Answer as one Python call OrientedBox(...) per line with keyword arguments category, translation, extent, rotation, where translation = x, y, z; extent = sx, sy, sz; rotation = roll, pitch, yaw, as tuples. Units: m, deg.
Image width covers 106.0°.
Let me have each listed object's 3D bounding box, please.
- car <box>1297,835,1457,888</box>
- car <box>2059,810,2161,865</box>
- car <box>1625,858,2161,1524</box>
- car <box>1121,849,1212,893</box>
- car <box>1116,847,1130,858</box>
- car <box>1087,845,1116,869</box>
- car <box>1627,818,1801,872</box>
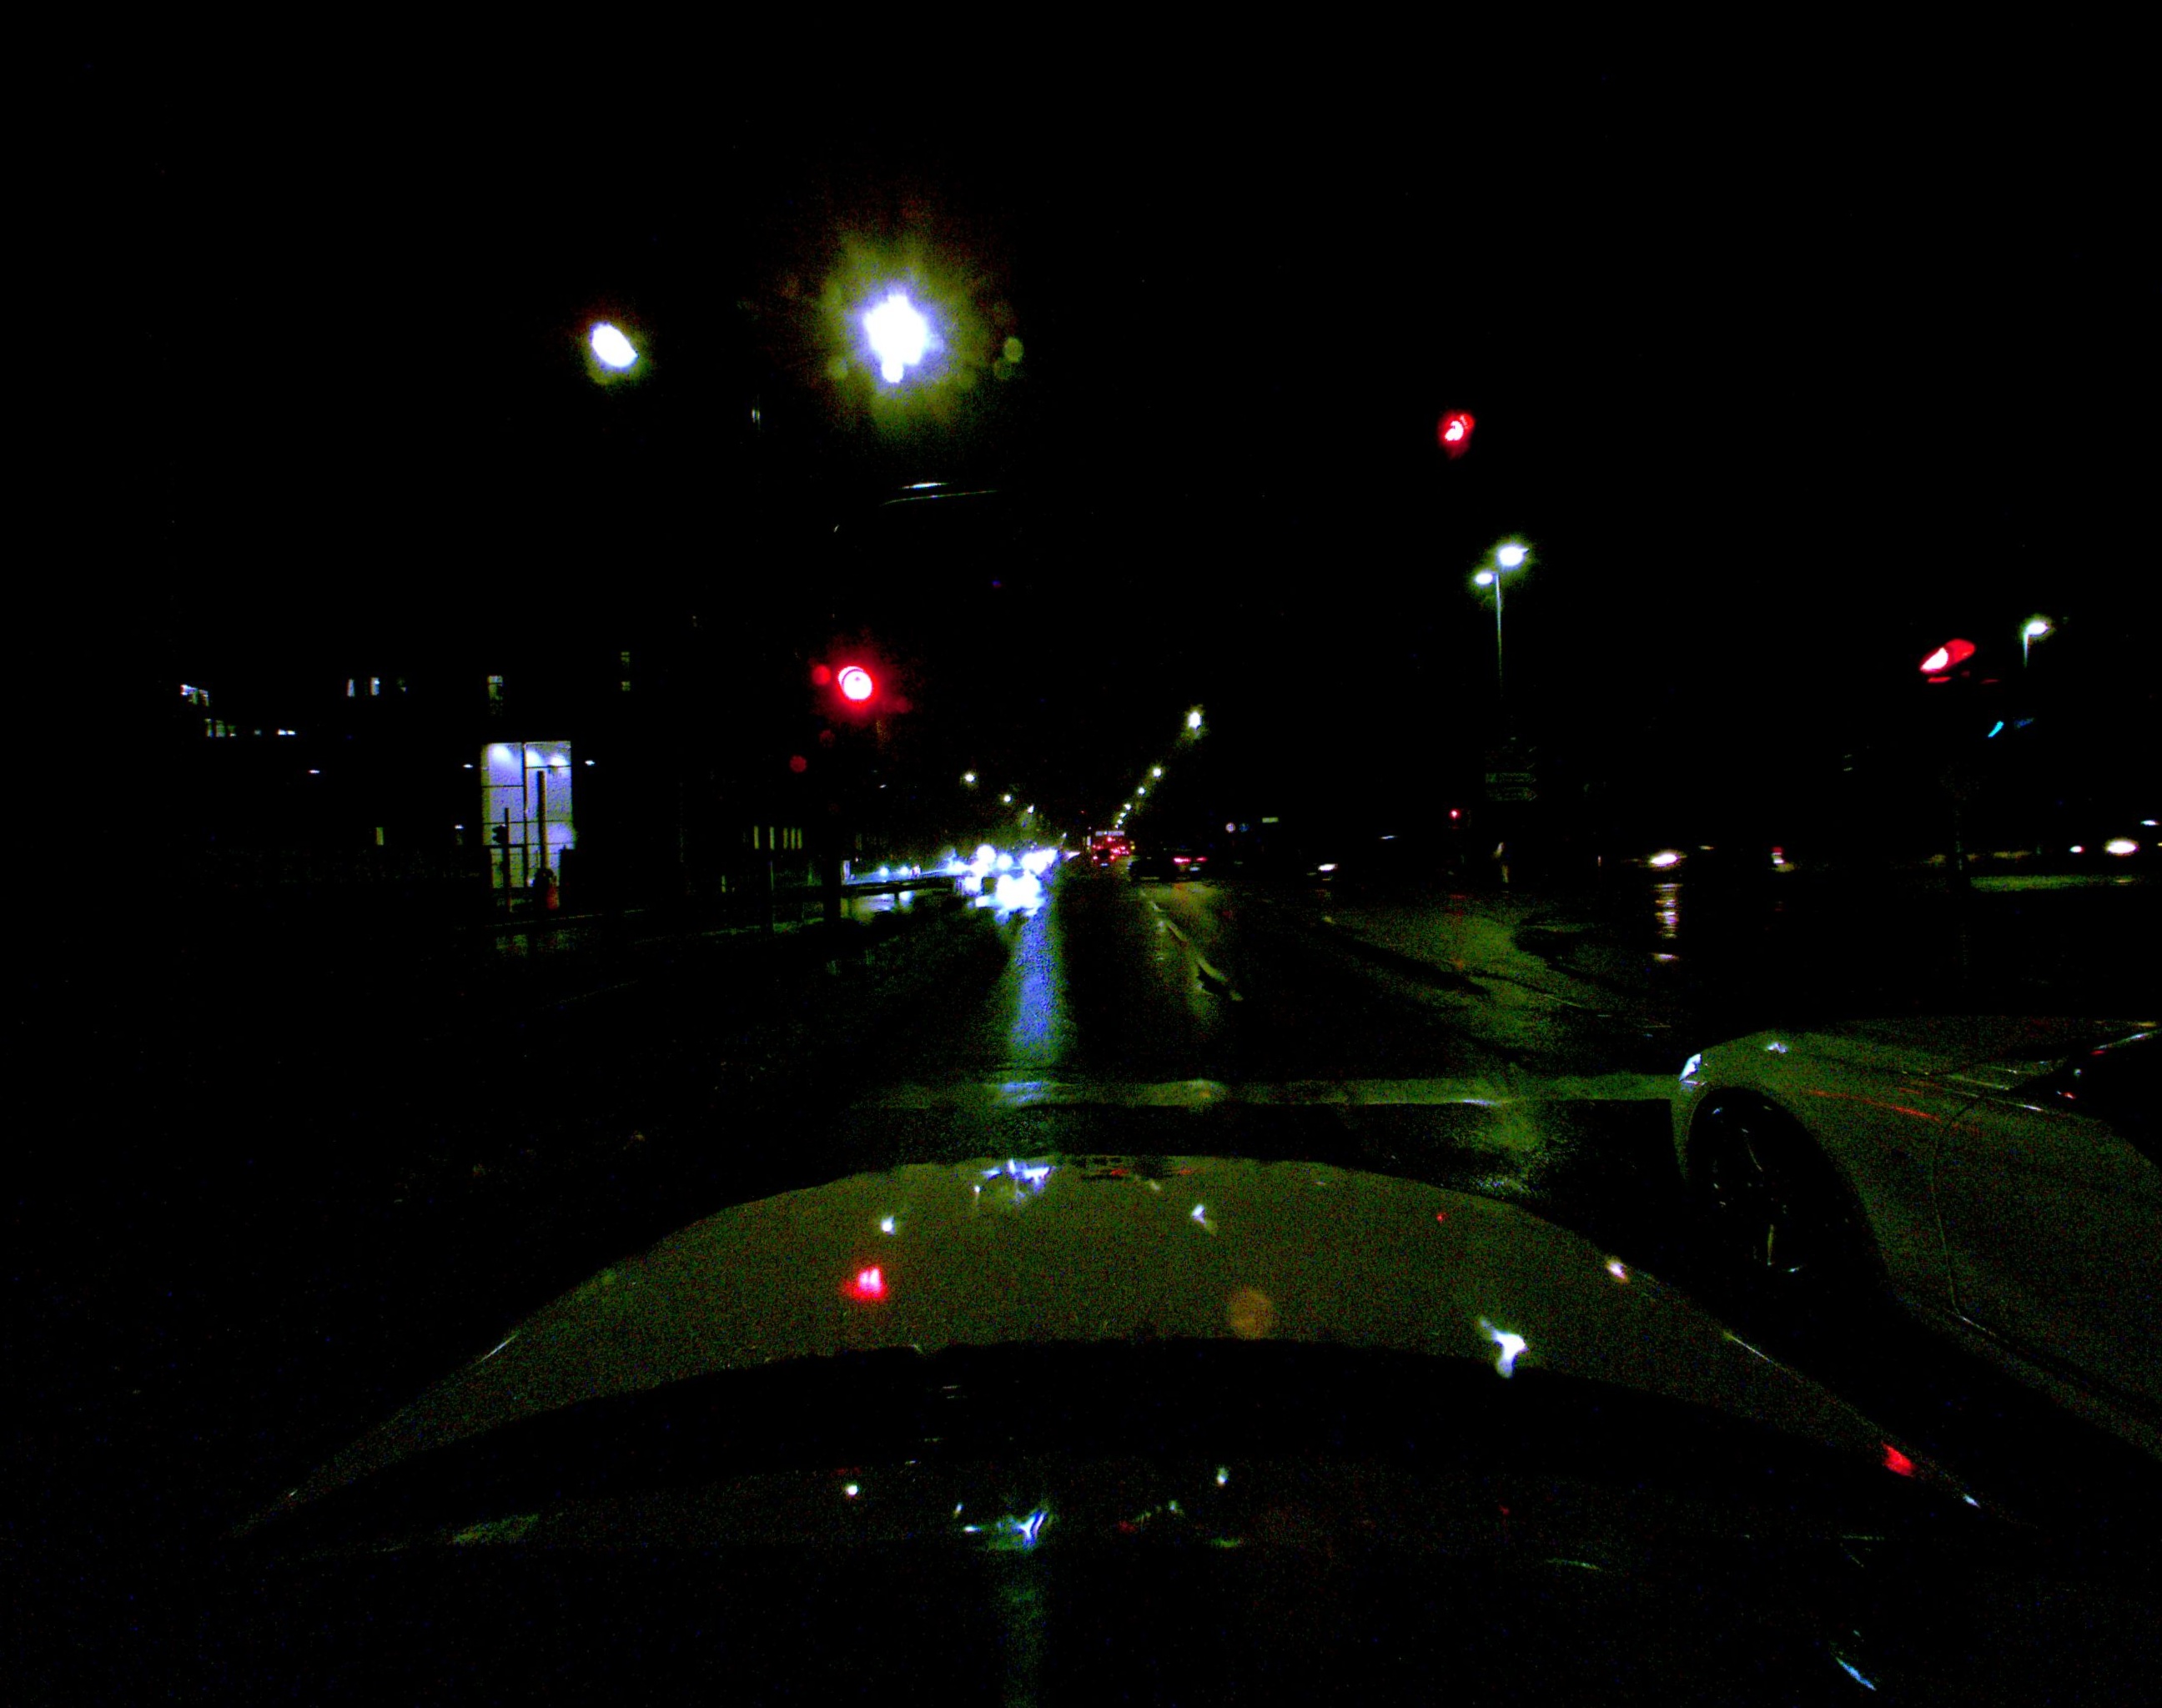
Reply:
OrientedBox(category="car", translation=(10.290, 0.263, 28.550), extent=(4.887, 1.741, 1.970), rotation=(0, -1, -1))
OrientedBox(category="car", translation=(35.771, -0.536, 26.880), extent=(4.469, 1.749, 1.862), rotation=(0, -1, 5))
OrientedBox(category="car", translation=(3.131, 0.712, 1.311), extent=(1.710, 1.404, 4.351), rotation=(0, 0, 2))
OrientedBox(category="car", translation=(4.092, 0.800, 39.705), extent=(2.008, 2.014, 4.584), rotation=(0, -1, -33))
OrientedBox(category="car", translation=(6.523, -0.225, 126.665), extent=(1.986, 1.759, 4.001), rotation=(0, -1, 2))
OrientedBox(category="car", translation=(1.525, 0.223, 59.089), extent=(1.986, 1.705, 4.634), rotation=(0, 0, 2))
OrientedBox(category="car", translation=(21.616, -0.282, 27.965), extent=(4.361, 1.741, 1.913), rotation=(0, -1, 6))
